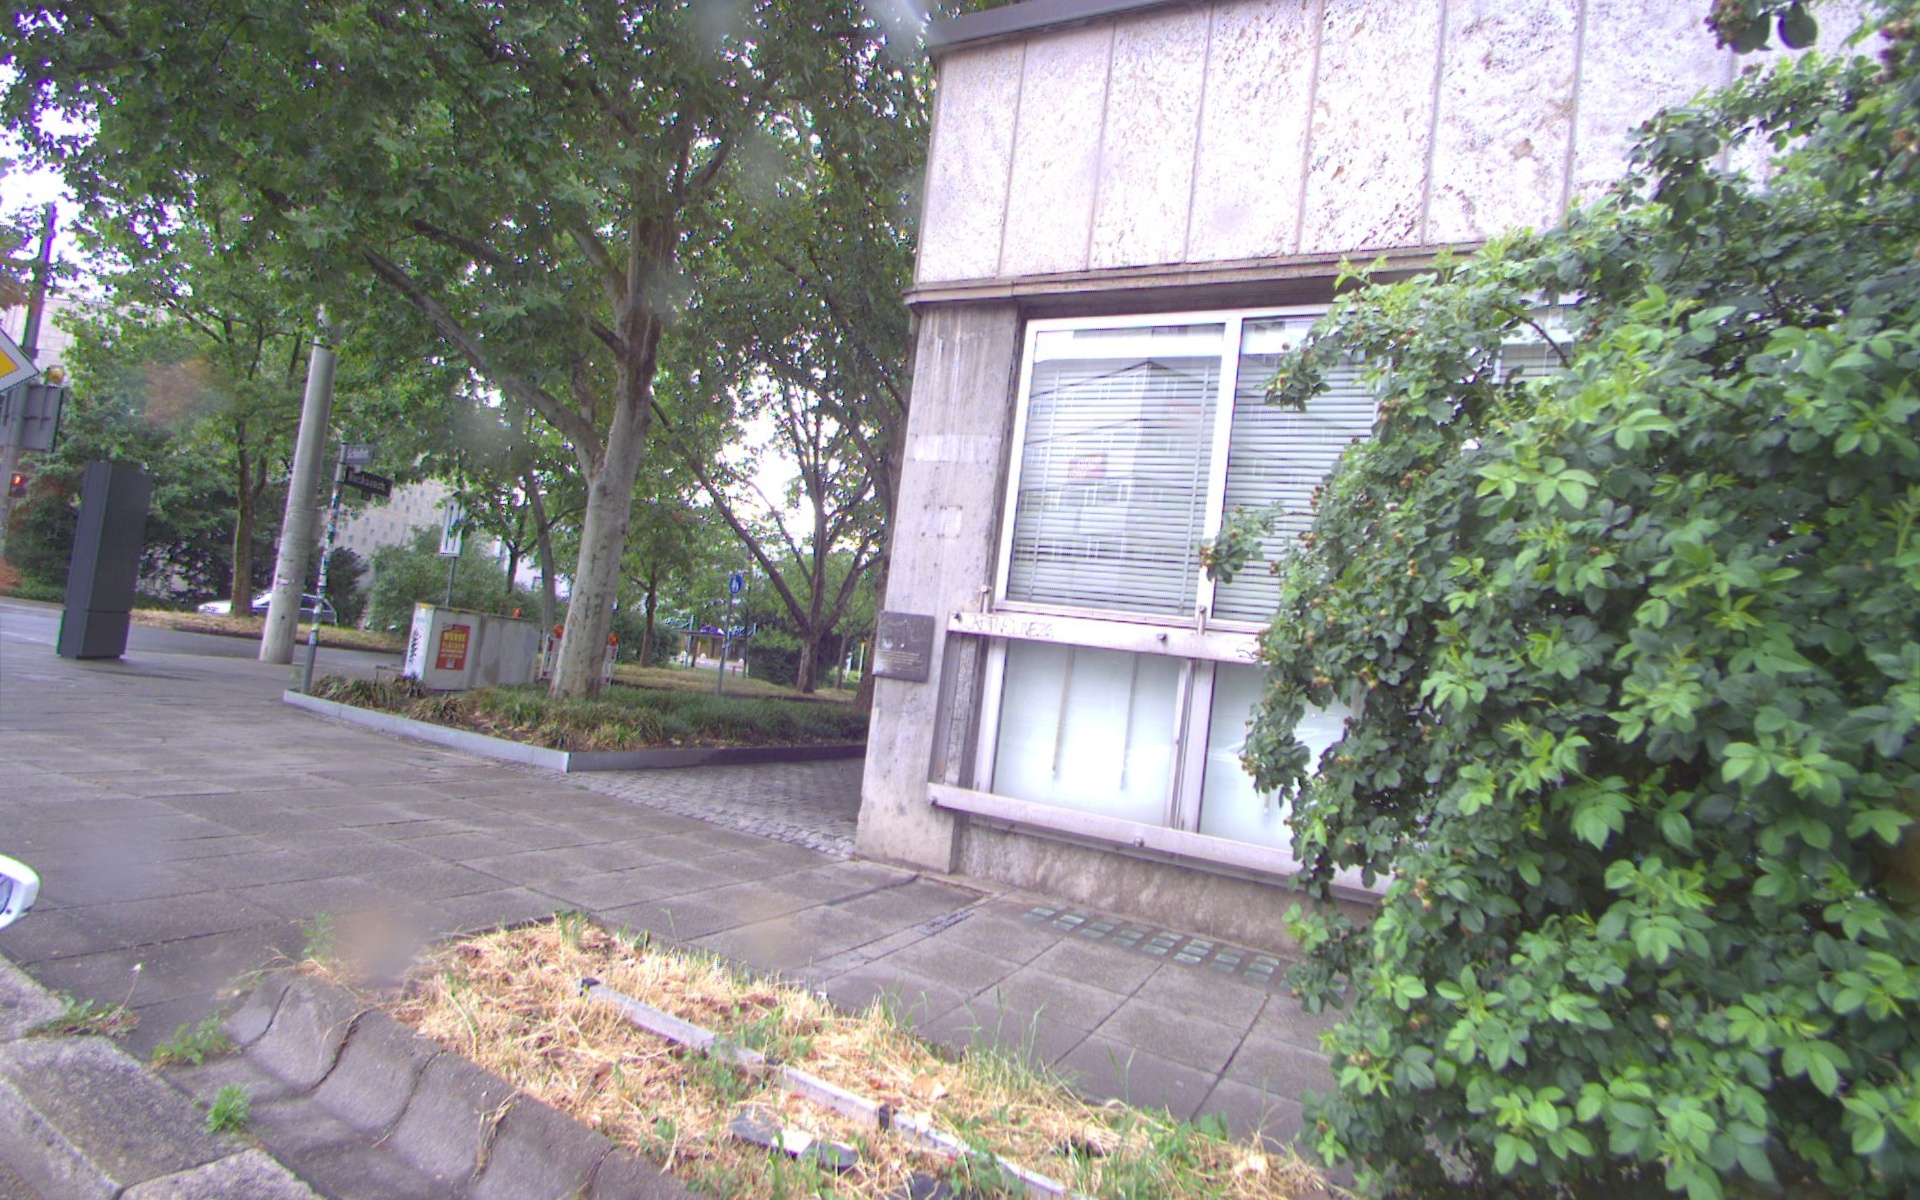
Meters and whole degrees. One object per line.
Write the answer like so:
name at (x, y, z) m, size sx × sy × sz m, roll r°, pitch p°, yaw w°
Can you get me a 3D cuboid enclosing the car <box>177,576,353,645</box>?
car at (-21.963, 0.390, 31.960) m, size 1.964 × 1.456 × 4.007 m, roll 6°, pitch -6°, yaw 25°
